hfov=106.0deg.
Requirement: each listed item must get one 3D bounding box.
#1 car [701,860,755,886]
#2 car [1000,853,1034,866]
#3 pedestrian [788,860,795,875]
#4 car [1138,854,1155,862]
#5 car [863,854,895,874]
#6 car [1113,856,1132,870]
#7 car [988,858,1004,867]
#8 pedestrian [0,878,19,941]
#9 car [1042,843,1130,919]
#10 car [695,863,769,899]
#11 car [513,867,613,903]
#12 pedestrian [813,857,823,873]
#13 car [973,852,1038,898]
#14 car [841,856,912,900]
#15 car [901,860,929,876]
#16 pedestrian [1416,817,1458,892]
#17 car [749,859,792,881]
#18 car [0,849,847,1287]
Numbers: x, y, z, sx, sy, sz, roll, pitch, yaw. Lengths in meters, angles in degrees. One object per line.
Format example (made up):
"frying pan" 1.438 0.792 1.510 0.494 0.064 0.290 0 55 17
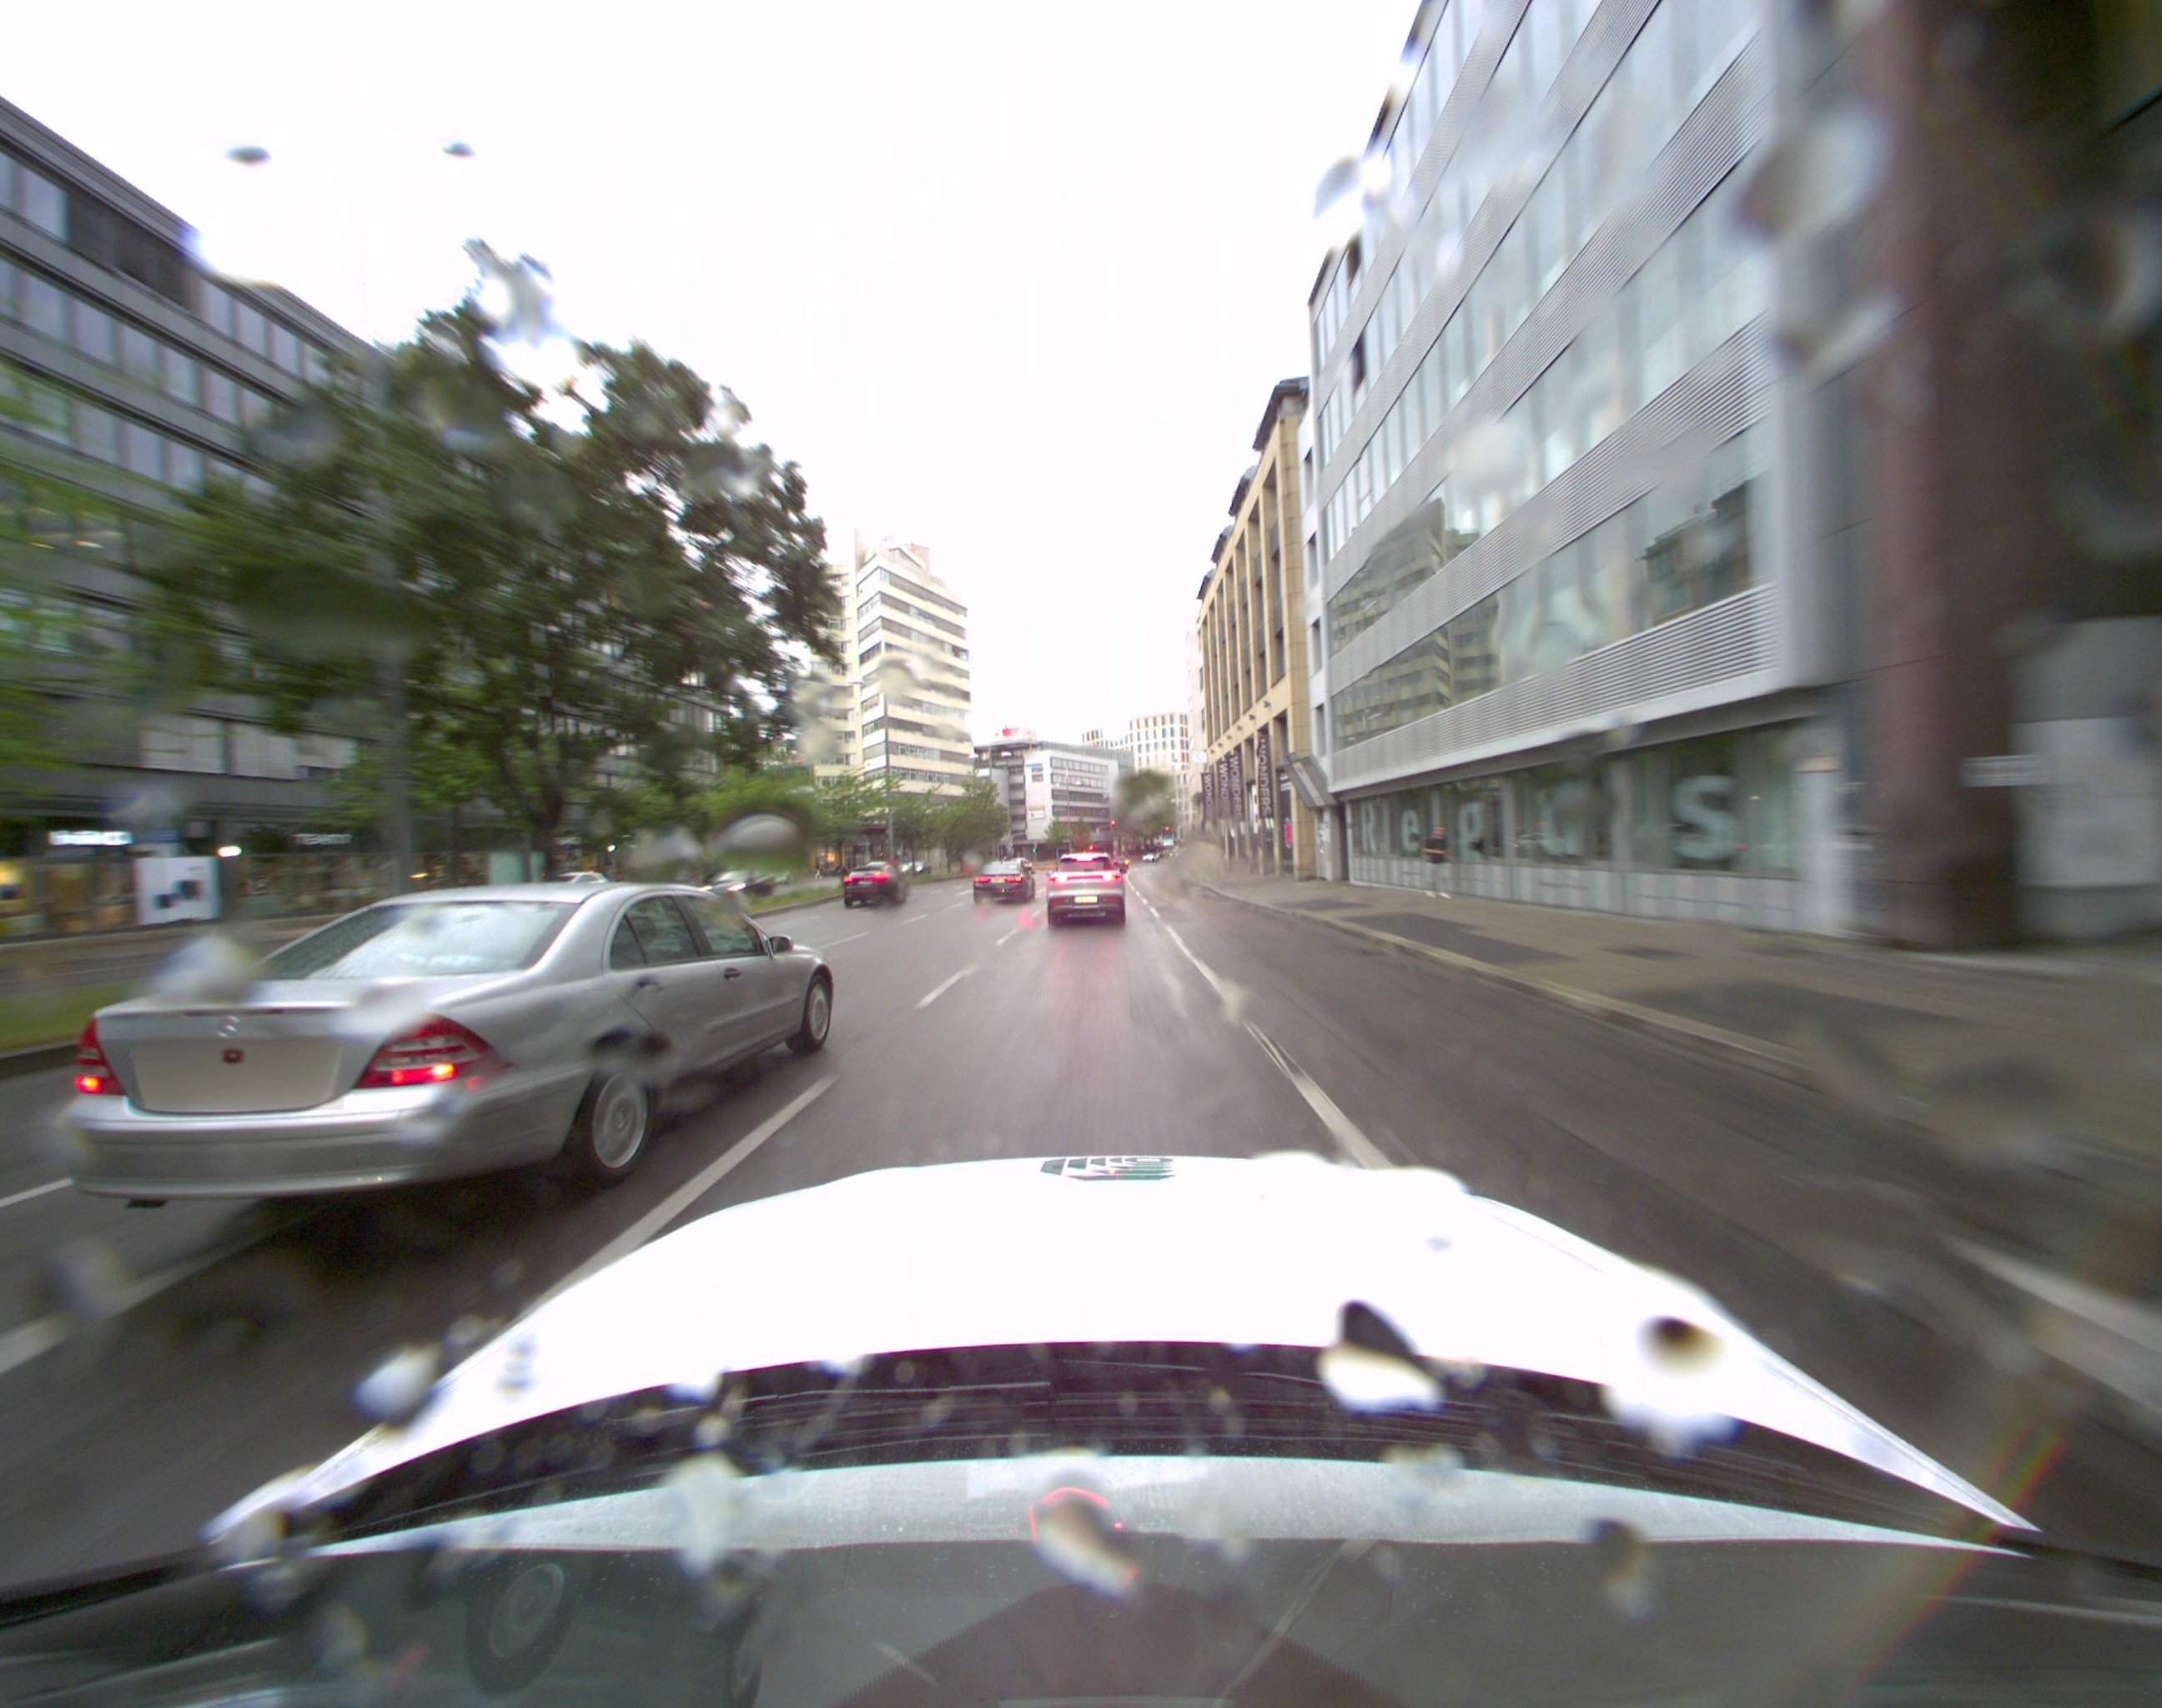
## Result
"car" -23.124 1.201 53.504 1.618 1.611 4.231 -1 0 0
"car" -7.383 0.620 93.916 3.949 1.342 1.669 -2 0 43
"pedestrian" -28.737 1.340 80.832 0.606 1.503 0.432 -2 0 -37
"car" 12.705 0.766 158.665 1.565 1.538 4.025 -2 0 32
"car" -16.926 0.848 68.396 1.618 1.492 4.306 -2 -1 0
"car" 4.926 1.010 95.864 1.801 1.578 4.009 -2 0 8
"car" -12.264 1.208 118.001 1.573 1.090 4.004 -2 0 4
"pedestrian" -30.150 1.553 22.274 0.740 1.715 1.057 -2 0 1
"car" 0.172 0.608 19.971 1.894 1.621 4.001 -1 0 1
"car" -14.292 1.070 33.547 1.620 1.311 3.613 -2 -1 -3
"car" -23.297 1.346 36.836 1.618 1.432 4.444 -2 -1 0
"pedestrian" -29.008 1.198 89.823 0.757 1.713 0.587 -2 0 -37
"car" -2.699 0.725 30.230 1.866 1.479 4.878 -2 0 0
"car" -7.565 0.873 30.543 1.770 1.457 3.995 -2 -1 -3
"car" -16.299 1.331 79.994 1.617 1.453 4.165 -2 -1 3
"pedestrian" 8.798 0.017 20.159 0.633 1.772 0.790 -2 -1 2
"car" -22.795 1.153 59.924 1.618 1.460 3.962 -1 0 0
"car" -2.969 0.755 4.989 1.666 1.479 4.362 -1 0 2
